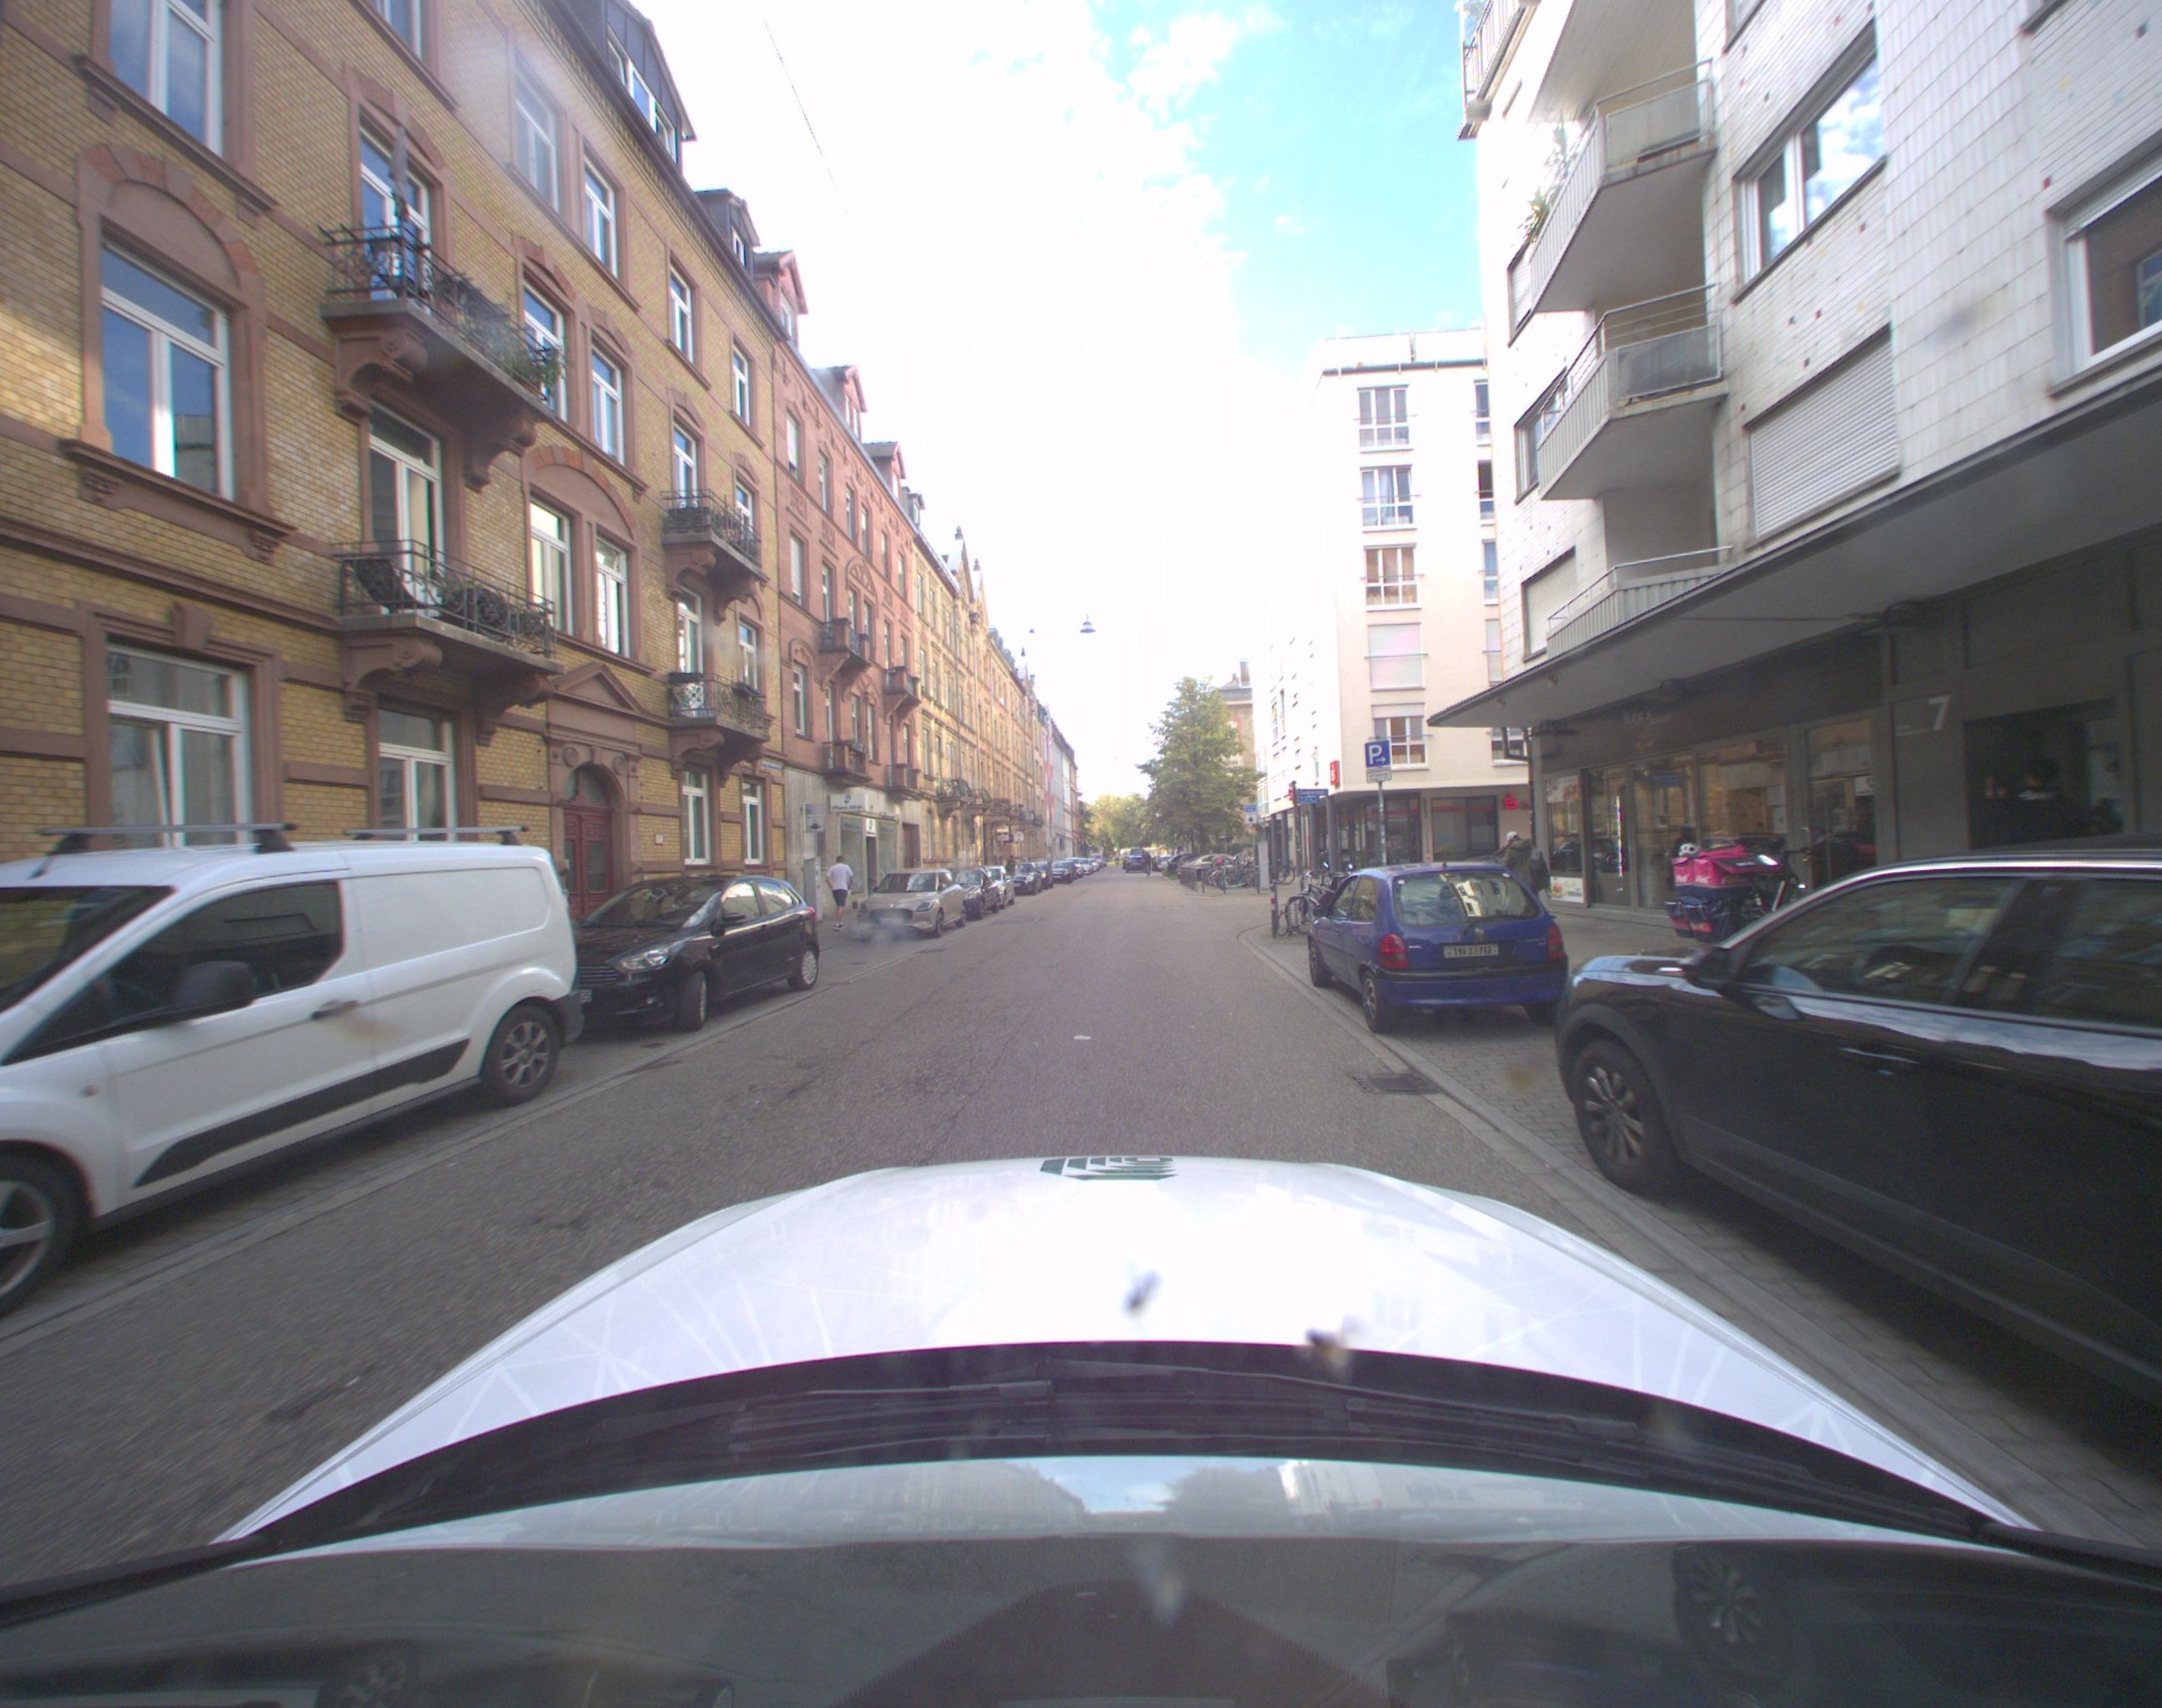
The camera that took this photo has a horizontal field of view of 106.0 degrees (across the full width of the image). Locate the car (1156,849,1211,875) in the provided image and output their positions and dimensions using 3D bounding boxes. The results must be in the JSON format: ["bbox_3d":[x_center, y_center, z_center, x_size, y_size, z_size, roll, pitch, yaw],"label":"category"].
[{"bbox_3d":[7.776,0.583,61.738,3.964,1.640,2.005,-4,-1,8],"label":"car"}]

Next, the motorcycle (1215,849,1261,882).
[{"bbox_3d":[7.839,0.561,40.736,2.138,1.434,0.767,-5,0,8],"label":"motorcycle"}]

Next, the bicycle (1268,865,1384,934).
[{"bbox_3d":[4.220,0.789,14.117,0.688,1.095,1.748,-3,-1,-44],"label":"bicycle"}]

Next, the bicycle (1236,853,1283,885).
[{"bbox_3d":[7.405,0.618,33.836,1.761,1.146,0.411,-5,0,-3],"label":"bicycle"}]

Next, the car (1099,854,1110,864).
[{"bbox_3d":[3.988,0.876,136.432,1.580,1.539,3.758,-2,0,6],"label":"car"}]

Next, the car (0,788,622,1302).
[{"bbox_3d":[-4.809,0.715,4.356,1.911,1.871,4.442,-2,0,4],"label":"car"}]

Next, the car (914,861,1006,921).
[{"bbox_3d":[-3.384,0.999,23.495,1.733,1.483,3.989,-1,0,5],"label":"car"}]

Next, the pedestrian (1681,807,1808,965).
[{"bbox_3d":[7.140,0.331,8.801,0.641,1.588,0.782,-4,-1,5],"label":"pedestrian"}]

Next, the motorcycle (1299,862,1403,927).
[{"bbox_3d":[4.916,0.752,14.883,0.612,1.095,1.645,-3,-1,-44],"label":"motorcycle"}]

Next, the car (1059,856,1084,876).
[{"bbox_3d":[-0.757,0.933,65.439,1.683,1.550,3.871,-1,0,4],"label":"car"}]

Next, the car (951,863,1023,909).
[{"bbox_3d":[-3.135,1.043,27.903,1.682,1.386,3.872,-1,0,5],"label":"car"}]

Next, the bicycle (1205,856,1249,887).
[{"bbox_3d":[6.178,0.722,34.476,1.770,1.146,0.409,-5,0,-17],"label":"bicycle"}]

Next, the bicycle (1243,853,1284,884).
[{"bbox_3d":[7.447,0.605,33.293,1.489,1.146,0.412,-5,0,3],"label":"bicycle"}]

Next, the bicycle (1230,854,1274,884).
[{"bbox_3d":[7.216,0.632,34.350,1.770,1.146,0.409,-5,0,-17],"label":"bicycle"}]

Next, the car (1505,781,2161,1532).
[{"bbox_3d":[3.104,0.599,2.456,1.681,1.577,3.904,-3,-1,2],"label":"car"}]

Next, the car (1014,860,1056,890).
[{"bbox_3d":[-2.365,1.054,42.854,1.683,1.437,3.871,-1,0,4],"label":"car"}]

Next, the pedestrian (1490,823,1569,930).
[{"bbox_3d":[7.016,0.349,12.773,0.818,1.588,0.783,-3,-1,12],"label":"pedestrian"}]

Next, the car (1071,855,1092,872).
[{"bbox_3d":[0.070,0.898,77.433,1.683,1.550,3.870,-1,0,3],"label":"car"}]

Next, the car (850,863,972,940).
[{"bbox_3d":[-3.772,1.008,18.785,1.734,1.483,3.987,-1,0,3],"label":"car"}]

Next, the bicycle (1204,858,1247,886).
[{"bbox_3d":[6.361,0.786,35.832,1.756,1.099,0.412,-5,0,6],"label":"bicycle"}]

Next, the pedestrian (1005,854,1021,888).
[{"bbox_3d":[-3.769,0.938,45.278,0.685,1.853,0.933,-1,0,5],"label":"pedestrian"}]

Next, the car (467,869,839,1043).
[{"bbox_3d":[-4.374,0.944,9.144,1.733,1.483,3.990,-1,-1,6],"label":"car"}]

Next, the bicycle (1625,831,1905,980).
[{"bbox_3d":[7.039,0.468,8.642,0.914,1.291,2.502,-4,0,4],"label":"bicycle"}]

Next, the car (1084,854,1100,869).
[{"bbox_3d":[1.295,0.846,92.801,1.683,1.550,3.870,-1,0,3],"label":"car"}]

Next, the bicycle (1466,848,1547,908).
[{"bbox_3d":[9.062,0.510,17.430,0.533,1.191,1.930,-2,-1,-5],"label":"bicycle"}]

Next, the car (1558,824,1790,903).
[{"bbox_3d":[13.075,0.221,18.165,3.768,1.501,1.799,-3,-1,4],"label":"car"}]

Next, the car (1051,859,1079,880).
[{"bbox_3d":[-1.131,1.082,58.789,1.683,1.369,3.871,1,0,4],"label":"car"}]

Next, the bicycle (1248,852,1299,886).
[{"bbox_3d":[7.415,0.564,31.460,1.757,1.162,0.651,-5,0,5],"label":"bicycle"}]

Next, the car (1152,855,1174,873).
[{"bbox_3d":[7.956,0.955,79.142,1.922,1.638,4.005,-1,0,4],"label":"car"}]

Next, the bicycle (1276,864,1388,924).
[{"bbox_3d":[4.886,0.792,15.959,0.694,1.095,1.939,-2,-2,-44],"label":"bicycle"}]

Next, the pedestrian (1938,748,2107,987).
[{"bbox_3d":[7.794,0.113,6.786,0.700,1.860,0.649,-3,-1,32],"label":"pedestrian"}]

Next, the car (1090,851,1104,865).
[{"bbox_3d":[2.132,0.578,109.099,1.683,1.821,3.870,-1,0,3],"label":"car"}]

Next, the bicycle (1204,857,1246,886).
[{"bbox_3d":[6.471,0.783,36.573,1.756,1.118,0.412,-5,0,6],"label":"bicycle"}]

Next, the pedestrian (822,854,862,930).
[{"bbox_3d":[-5.786,0.904,19.770,0.729,1.790,0.771,1,0,-3],"label":"pedestrian"}]

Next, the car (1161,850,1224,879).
[{"bbox_3d":[7.480,0.685,54.579,3.964,1.583,2.005,-4,-1,8],"label":"car"}]

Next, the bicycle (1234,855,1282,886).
[{"bbox_3d":[7.056,0.646,32.529,1.757,1.087,0.651,-5,0,5],"label":"bicycle"}]

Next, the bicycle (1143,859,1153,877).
[{"bbox_3d":[4.775,0.998,57.997,0.715,1.274,1.886,-1,0,5],"label":"bicycle"}]

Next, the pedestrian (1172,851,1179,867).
[{"bbox_3d":[14.058,0.731,121.353,0.991,2.230,0.900,-1,0,4],"label":"pedestrian"}]

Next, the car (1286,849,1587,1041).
[{"bbox_3d":[3.289,0.717,8.412,1.588,1.439,4.036,-3,0,5],"label":"car"}]

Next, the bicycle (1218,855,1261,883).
[{"bbox_3d":[7.361,0.702,37.866,1.777,1.159,0.503,-5,0,29],"label":"bicycle"}]

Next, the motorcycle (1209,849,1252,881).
[{"bbox_3d":[8.001,0.565,43.777,2.138,1.530,0.688,-5,0,8],"label":"motorcycle"}]

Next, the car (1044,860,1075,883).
[{"bbox_3d":[-1.363,1.110,52.874,1.683,1.369,3.871,1,0,4],"label":"car"}]

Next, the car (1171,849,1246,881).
[{"bbox_3d":[7.178,0.632,45.982,3.757,1.546,1.726,-4,-1,-7],"label":"car"}]

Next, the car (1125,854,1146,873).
[{"bbox_3d":[5.434,0.937,81.032,1.956,1.741,4.045,-2,-1,4],"label":"car"}]

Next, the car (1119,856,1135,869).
[{"bbox_3d":[5.435,1.029,96.005,1.789,1.472,3.891,-1,0,3],"label":"car"}]

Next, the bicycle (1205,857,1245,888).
[{"bbox_3d":[5.889,0.740,33.256,1.491,1.146,0.411,-5,0,-2],"label":"bicycle"}]

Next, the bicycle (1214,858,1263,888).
[{"bbox_3d":[6.177,0.739,31.934,1.761,1.056,0.411,-5,0,-2],"label":"bicycle"}]

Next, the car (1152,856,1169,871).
[{"bbox_3d":[8.107,0.973,83.628,1.682,1.550,3.692,-1,0,5],"label":"car"}]

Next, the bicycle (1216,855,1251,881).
[{"bbox_3d":[7.869,0.723,42.082,1.656,1.159,0.558,-5,0,5],"label":"bicycle"}]

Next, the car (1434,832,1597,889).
[{"bbox_3d":[14.201,0.187,26.810,4.341,1.630,1.810,-2,1,4],"label":"car"}]

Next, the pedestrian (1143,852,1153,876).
[{"bbox_3d":[4.775,0.694,58.085,0.715,1.650,0.931,-1,0,4],"label":"pedestrian"}]

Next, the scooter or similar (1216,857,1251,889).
[{"bbox_3d":[5.874,0.725,31.338,1.193,1.147,0.381,-5,1,35],"label":"scooter or similar"}]

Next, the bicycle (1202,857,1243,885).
[{"bbox_3d":[6.504,0.780,37.507,1.785,1.159,0.501,-5,0,6],"label":"bicycle"}]

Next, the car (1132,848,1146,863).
[{"bbox_3d":[7.743,0.170,109.332,1.775,2.020,3.891,-1,0,3],"label":"car"}]

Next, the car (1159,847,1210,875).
[{"bbox_3d":[8.462,0.561,66.784,3.965,1.683,1.742,-5,7,7],"label":"car"}]

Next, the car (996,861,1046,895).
[{"bbox_3d":[-2.640,1.027,36.578,1.683,1.386,3.871,-1,0,4],"label":"car"}]
